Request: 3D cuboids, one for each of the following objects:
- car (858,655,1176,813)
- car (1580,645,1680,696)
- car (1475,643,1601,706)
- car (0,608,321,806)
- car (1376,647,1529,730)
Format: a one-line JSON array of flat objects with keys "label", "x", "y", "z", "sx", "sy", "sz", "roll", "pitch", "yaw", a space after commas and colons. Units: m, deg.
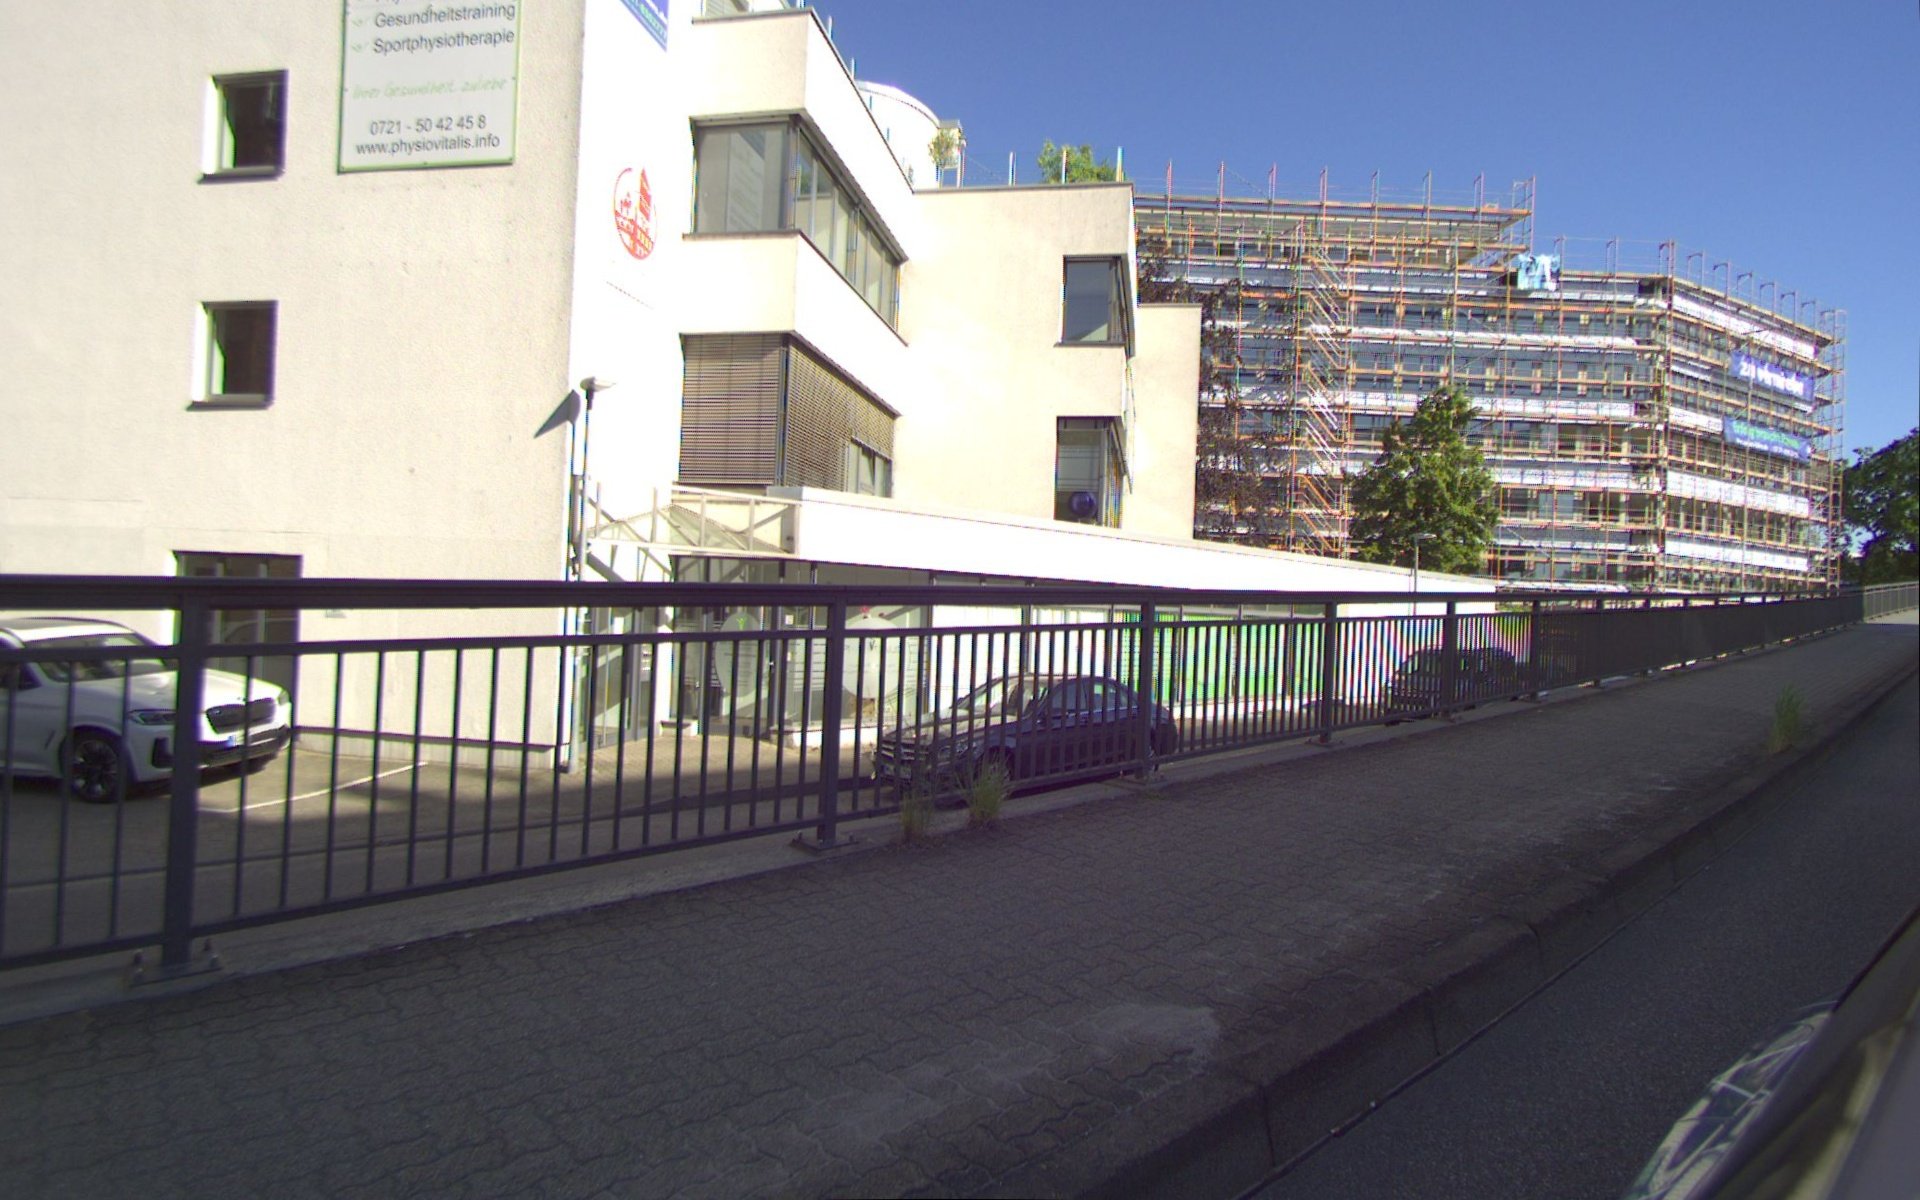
[{"label": "car", "x": 0.819, "y": 1.544, "z": 12.811, "sx": 3.929, "sy": 1.541, "sz": 1.724, "roll": 1, "pitch": -1, "yaw": -41}, {"label": "car", "x": 21.097, "y": 2.165, "z": 31.801, "sx": 3.931, "sy": 1.410, "sz": 1.723, "roll": 1, "pitch": -1, "yaw": -42}, {"label": "car", "x": 14.990, "y": 1.861, "z": 26.161, "sx": 3.931, "sy": 1.410, "sz": 1.723, "roll": 1, "pitch": -1, "yaw": -42}, {"label": "car", "x": -9.558, "y": 1.019, "z": 10.848, "sx": 4.455, "sy": 1.707, "sz": 1.840, "roll": 2, "pitch": 0, "yaw": 9}, {"label": "car", "x": 10.868, "y": 1.856, "z": 22.231, "sx": 3.931, "sy": 1.541, "sz": 1.723, "roll": 1, "pitch": -1, "yaw": -42}]
